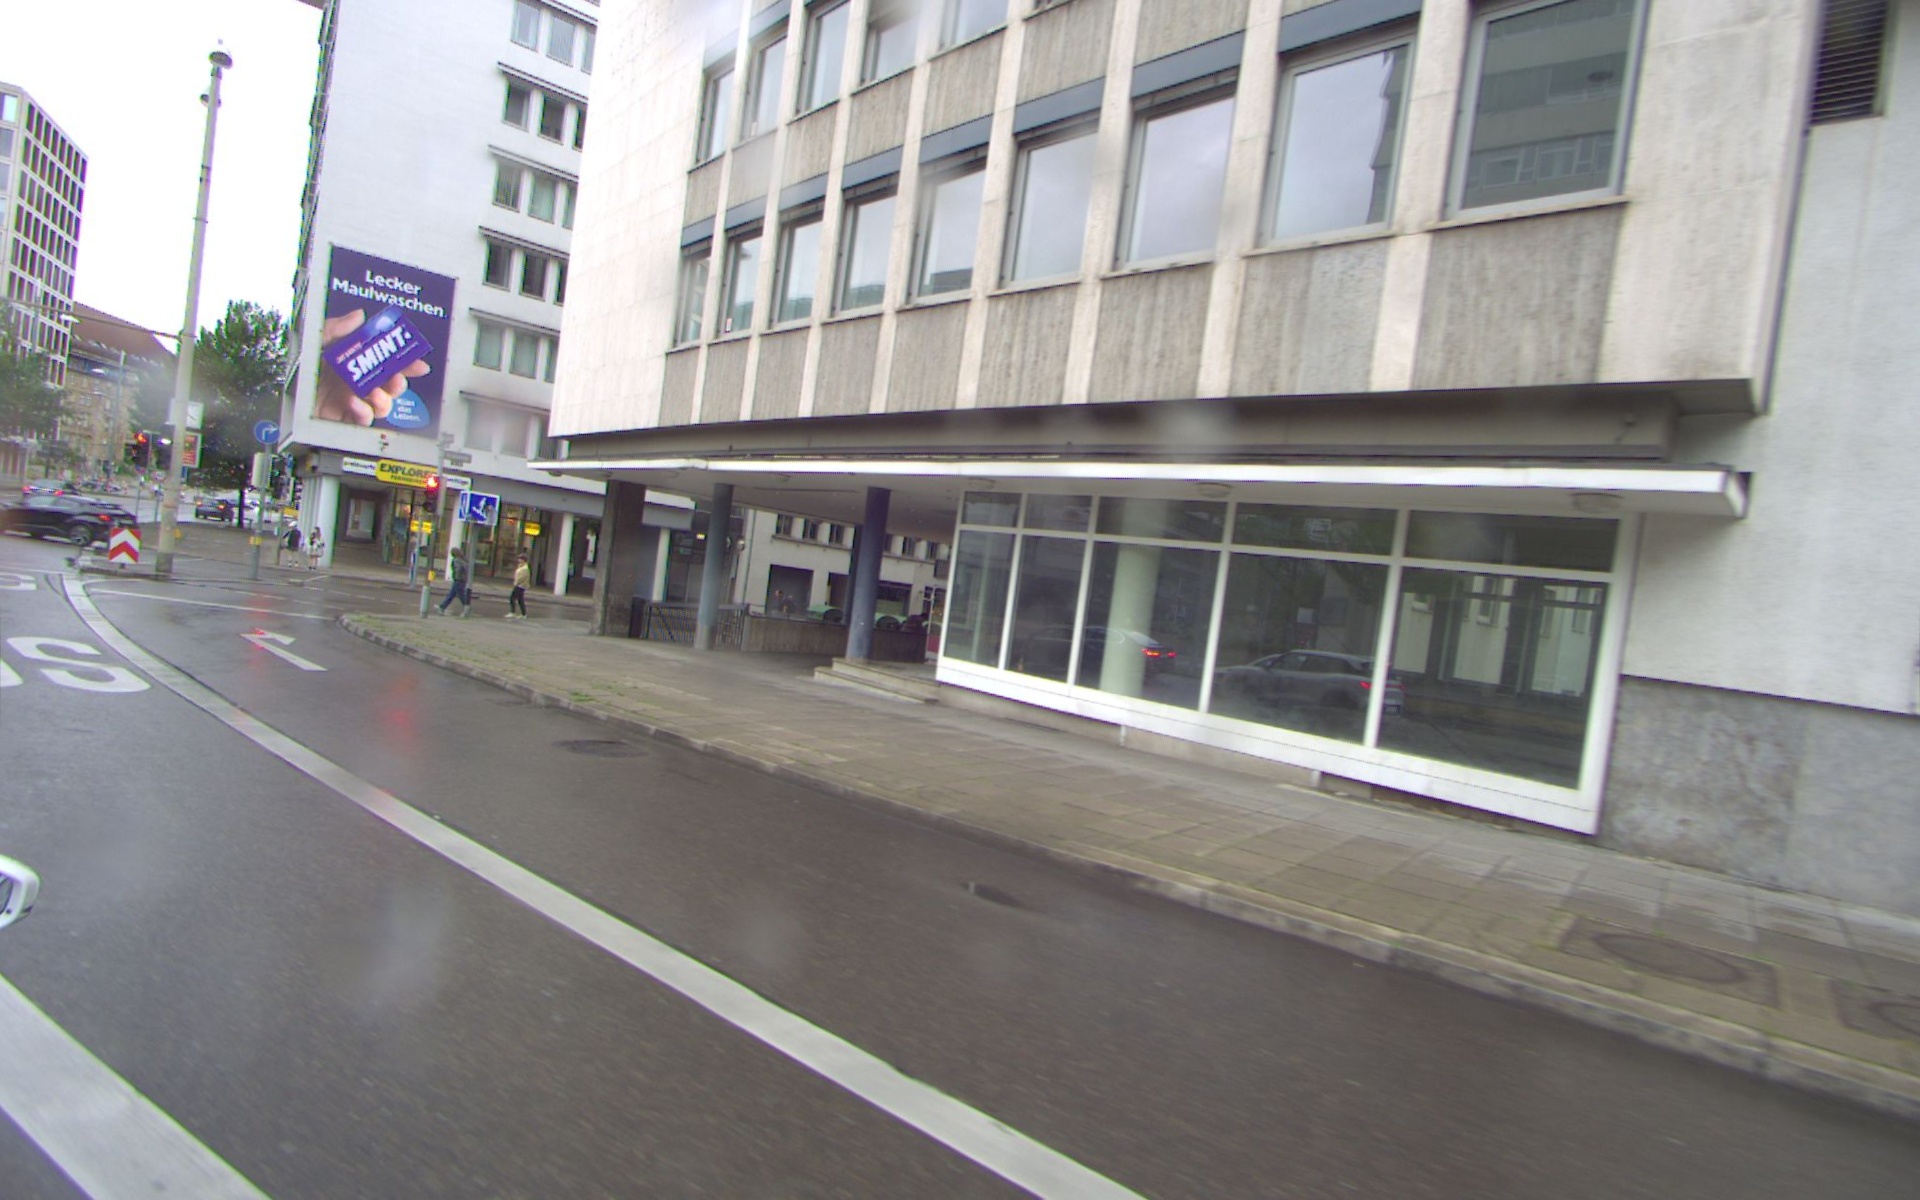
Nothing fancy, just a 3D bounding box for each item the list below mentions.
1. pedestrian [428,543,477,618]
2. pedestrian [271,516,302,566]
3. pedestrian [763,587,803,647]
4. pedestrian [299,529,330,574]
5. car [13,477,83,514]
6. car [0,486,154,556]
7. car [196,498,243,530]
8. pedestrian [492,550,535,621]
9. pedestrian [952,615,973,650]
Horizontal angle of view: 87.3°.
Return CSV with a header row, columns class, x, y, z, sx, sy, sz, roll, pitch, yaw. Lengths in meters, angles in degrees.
class,x,y,z,sx,sy,sz,roll,pitch,yaw
pedestrian,-13.143,-0.508,26.063,0.810,1.820,0.702,7,1,-42
pedestrian,-24.492,-2.141,36.577,0.724,1.689,0.683,7,0,-42
pedestrian,-5.657,0.544,32.069,1.002,1.776,0.793,7,0,-13
pedestrian,-23.656,-1.790,36.860,0.724,1.542,0.751,7,0,-42
car,-49.231,-5.598,54.370,1.898,1.527,4.319,9,-1,-32
car,-28.845,-2.575,32.389,3.931,1.570,1.999,9,-1,-6
car,-52.734,-6.082,71.733,2.033,1.786,4.322,9,-1,-30
pedestrian,-12.228,-0.392,27.555,0.724,1.820,0.730,7,1,-42
pedestrian,0.118,1.810,55.830,0.677,1.820,0.722,7,0,-36
